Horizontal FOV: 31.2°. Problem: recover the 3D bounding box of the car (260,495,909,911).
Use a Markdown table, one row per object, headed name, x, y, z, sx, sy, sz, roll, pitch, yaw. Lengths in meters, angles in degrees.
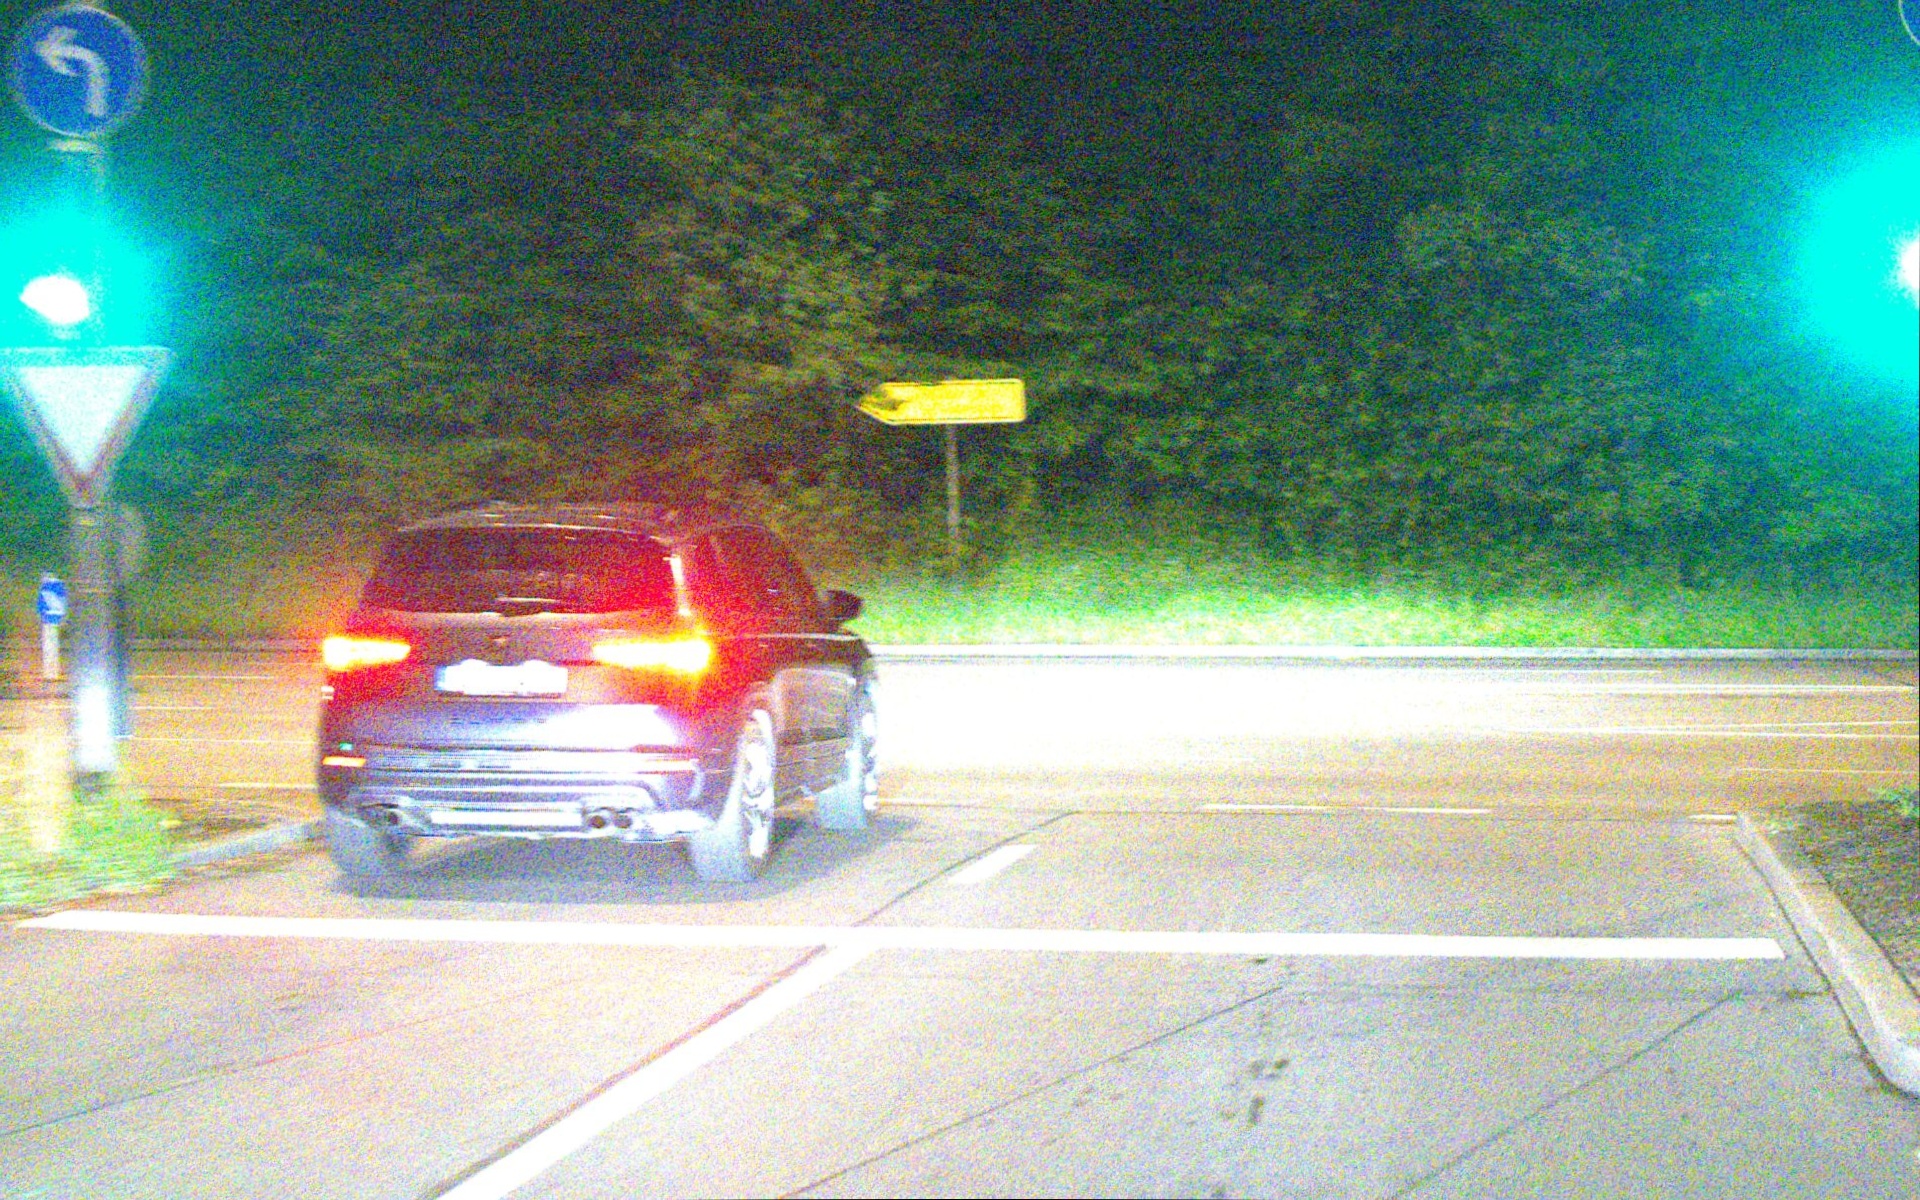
| name | x | y | z | sx | sy | sz | roll | pitch | yaw |
| --- | --- | --- | --- | --- | --- | --- | --- | --- | --- |
| car | -1.515 | 0.353 | 15.425 | 1.852 | 1.577 | 4.005 | 1 | 1 | 10 |
